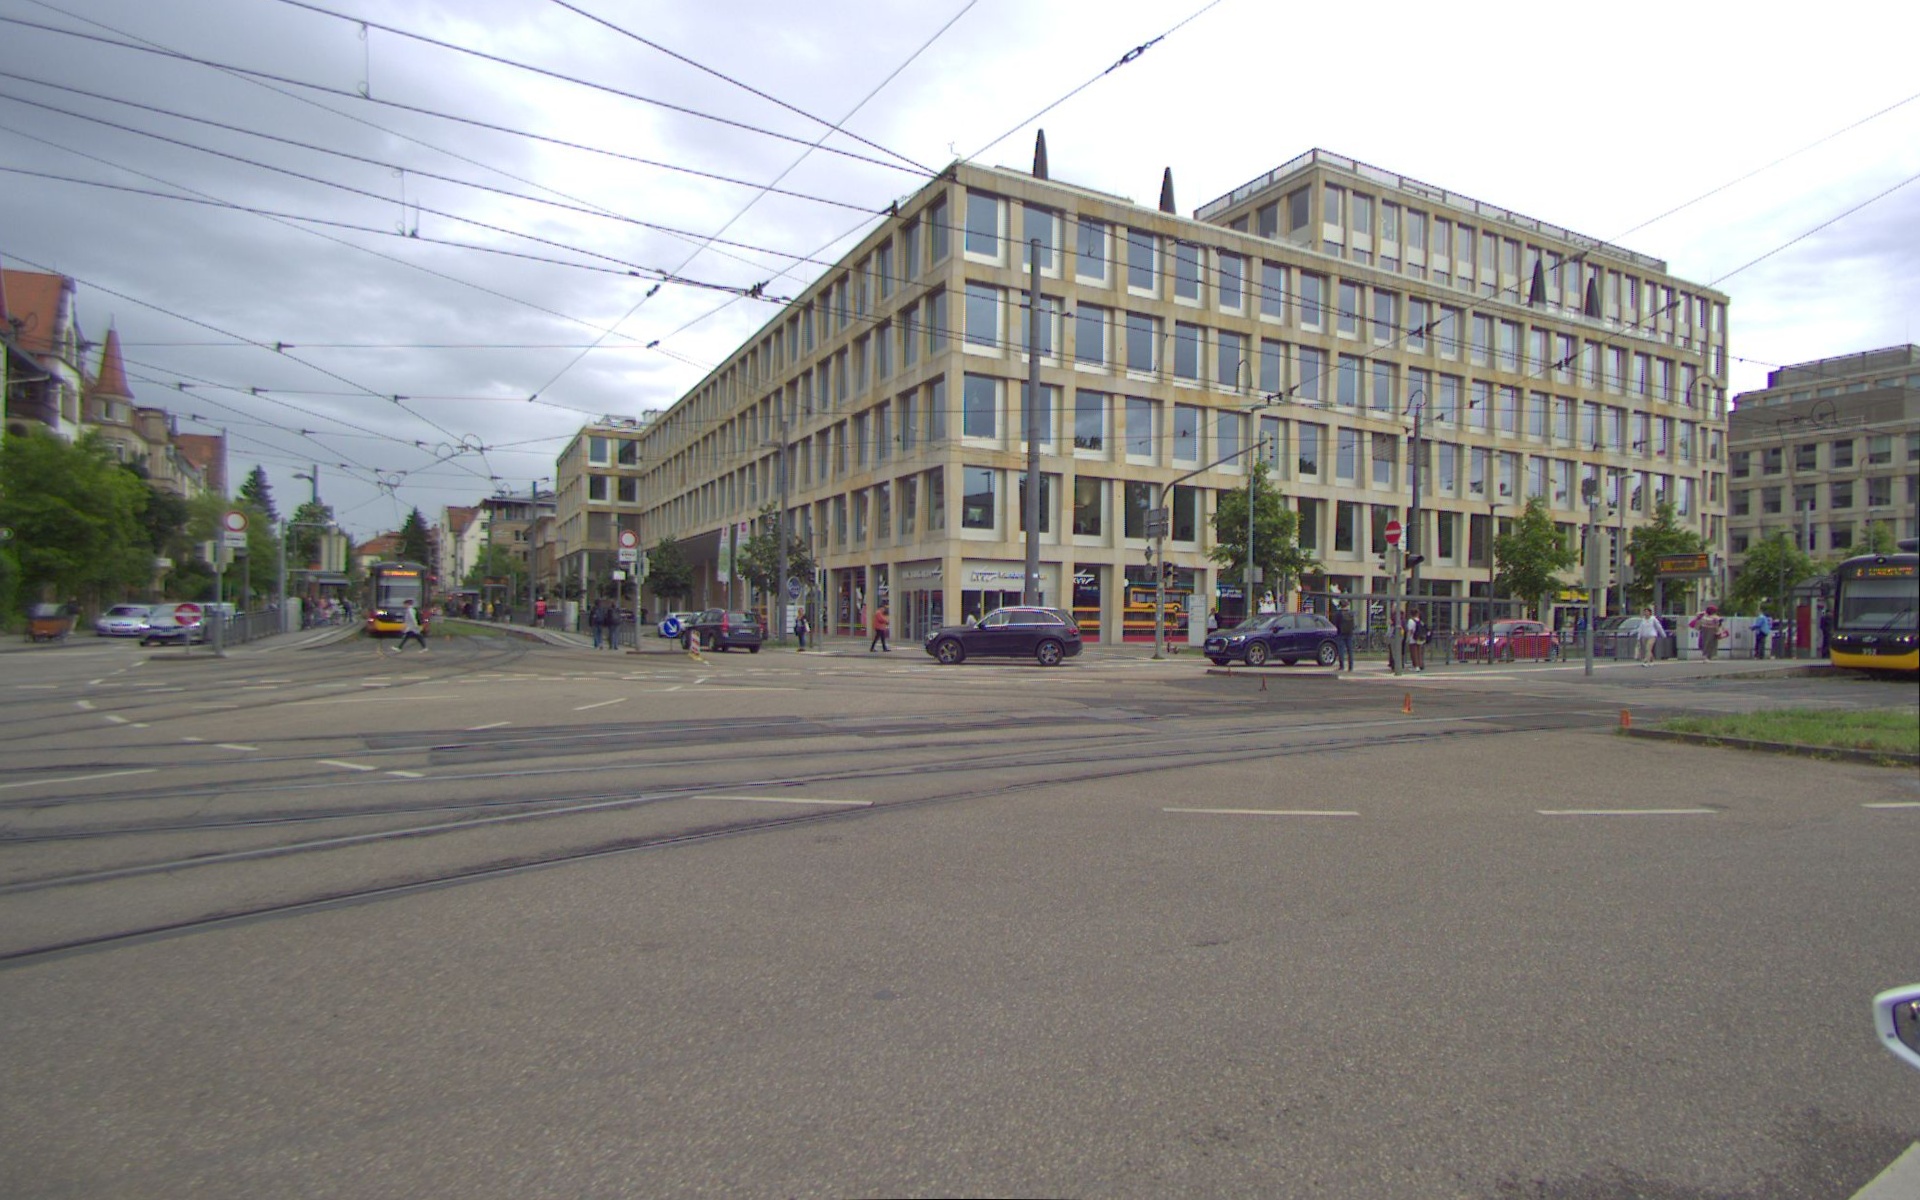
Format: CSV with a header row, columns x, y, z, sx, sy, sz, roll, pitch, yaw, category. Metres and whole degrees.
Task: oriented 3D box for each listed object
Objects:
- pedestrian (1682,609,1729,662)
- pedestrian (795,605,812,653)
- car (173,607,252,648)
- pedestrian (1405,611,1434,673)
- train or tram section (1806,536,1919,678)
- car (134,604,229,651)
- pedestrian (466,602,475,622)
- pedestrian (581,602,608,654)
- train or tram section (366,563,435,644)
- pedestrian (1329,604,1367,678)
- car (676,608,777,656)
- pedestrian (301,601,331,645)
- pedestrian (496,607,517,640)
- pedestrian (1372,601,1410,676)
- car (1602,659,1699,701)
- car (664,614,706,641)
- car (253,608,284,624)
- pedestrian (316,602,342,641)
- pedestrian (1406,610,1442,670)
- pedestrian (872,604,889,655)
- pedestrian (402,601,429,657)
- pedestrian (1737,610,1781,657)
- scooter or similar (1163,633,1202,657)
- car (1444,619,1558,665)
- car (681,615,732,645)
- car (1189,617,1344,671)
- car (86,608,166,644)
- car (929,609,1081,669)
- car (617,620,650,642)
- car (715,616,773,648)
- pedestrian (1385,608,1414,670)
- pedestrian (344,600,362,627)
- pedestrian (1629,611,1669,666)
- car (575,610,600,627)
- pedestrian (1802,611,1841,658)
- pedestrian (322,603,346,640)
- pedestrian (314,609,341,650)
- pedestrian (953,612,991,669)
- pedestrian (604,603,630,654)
x,y,z,sx,sy,sz,roll,pitch,yaw,category
23.037,1.091,31.051,0.838,1.606,0.904,2,-1,-30,pedestrian
-5.922,1.101,37.919,0.457,1.818,0.412,2,-1,-38,pedestrian
-29.680,1.099,40.003,1.776,1.530,3.974,2,-2,-26,car
12.353,1.120,27.008,0.514,1.619,0.717,1,-1,7,pedestrian
29.462,0.354,29.756,11.623,3.688,2.842,2,-1,-29,train or tram section
-27.056,0.952,35.043,1.776,1.530,3.974,2,-2,-26,car
-40.893,0.993,83.952,0.631,1.703,0.646,1,-1,-30,pedestrian
-12.719,0.988,34.927,0.677,1.777,0.851,2,-1,-32,pedestrian
-28.280,0.276,50.670,2.573,3.560,14.005,2,-2,-30,train or tram section
10.198,1.071,26.412,0.839,1.892,0.747,0,-1,28,pedestrian
-8.444,1.121,36.085,1.984,1.617,3.954,1,-1,-40,car
-30.571,1.090,47.708,1.110,2.040,1.061,2,-1,-32,pedestrian
-27.800,1.440,61.569,1.057,2.040,1.114,2,-1,-30,pedestrian
11.146,0.995,25.949,0.839,1.892,0.747,0,-1,28,pedestrian
27.348,3.120,39.776,3.724,1.468,1.731,1,-1,-30,car
-15.491,1.539,56.565,1.699,1.439,3.273,1,-1,-26,car
-65.275,1.516,94.835,1.776,1.530,3.974,2,-2,-26,car
-33.871,1.145,53.903,1.110,2.040,1.061,2,-1,-32,pedestrian
12.816,1.105,27.724,0.704,1.619,0.707,2,-2,-45,pedestrian
-2.897,1.072,36.538,0.457,1.818,0.412,2,-1,-38,pedestrian
-16.910,0.897,31.200,0.696,1.709,0.604,1,-1,-30,pedestrian
27.606,1.151,34.718,0.895,1.606,0.846,1,-1,-14,pedestrian
8.345,1.680,37.722,0.685,0.860,1.479,1,0,-25,scooter or similar
18.415,1.403,34.181,3.724,1.468,1.731,1,-1,-30,car
-12.944,1.493,51.109,1.772,1.439,3.678,1,-1,-26,car
9.087,1.269,29.769,4.303,1.514,1.735,1,-1,-22,car
-37.029,1.161,44.688,1.776,1.530,3.974,2,-2,-26,car
1.319,1.097,28.857,4.234,1.620,1.745,0,-1,5,car
-22.921,2.149,70.475,1.699,1.439,3.273,1,-1,-26,car
-10.051,1.452,46.518,1.772,1.439,3.678,1,-1,-26,car
11.826,1.045,27.048,0.514,1.619,0.717,1,-1,7,pedestrian
-41.118,0.921,68.056,0.976,1.749,0.924,2,-1,-32,pedestrian
20.357,1.134,29.682,0.757,1.606,0.704,2,-1,-30,pedestrian
-32.095,1.616,86.581,1.699,1.439,3.273,1,-1,-26,car
30.438,1.216,35.485,0.901,1.606,0.841,2,-1,-32,pedestrian
-35.121,1.191,56.360,1.110,2.040,1.061,2,-1,-32,pedestrian
-32.339,1.521,51.358,1.110,2.040,1.061,2,-1,-32,pedestrian
0.434,1.474,36.606,0.986,2.040,1.038,1,-1,-29,pedestrian
-12.063,1.008,35.326,0.677,1.777,0.851,2,-1,-32,pedestrian
